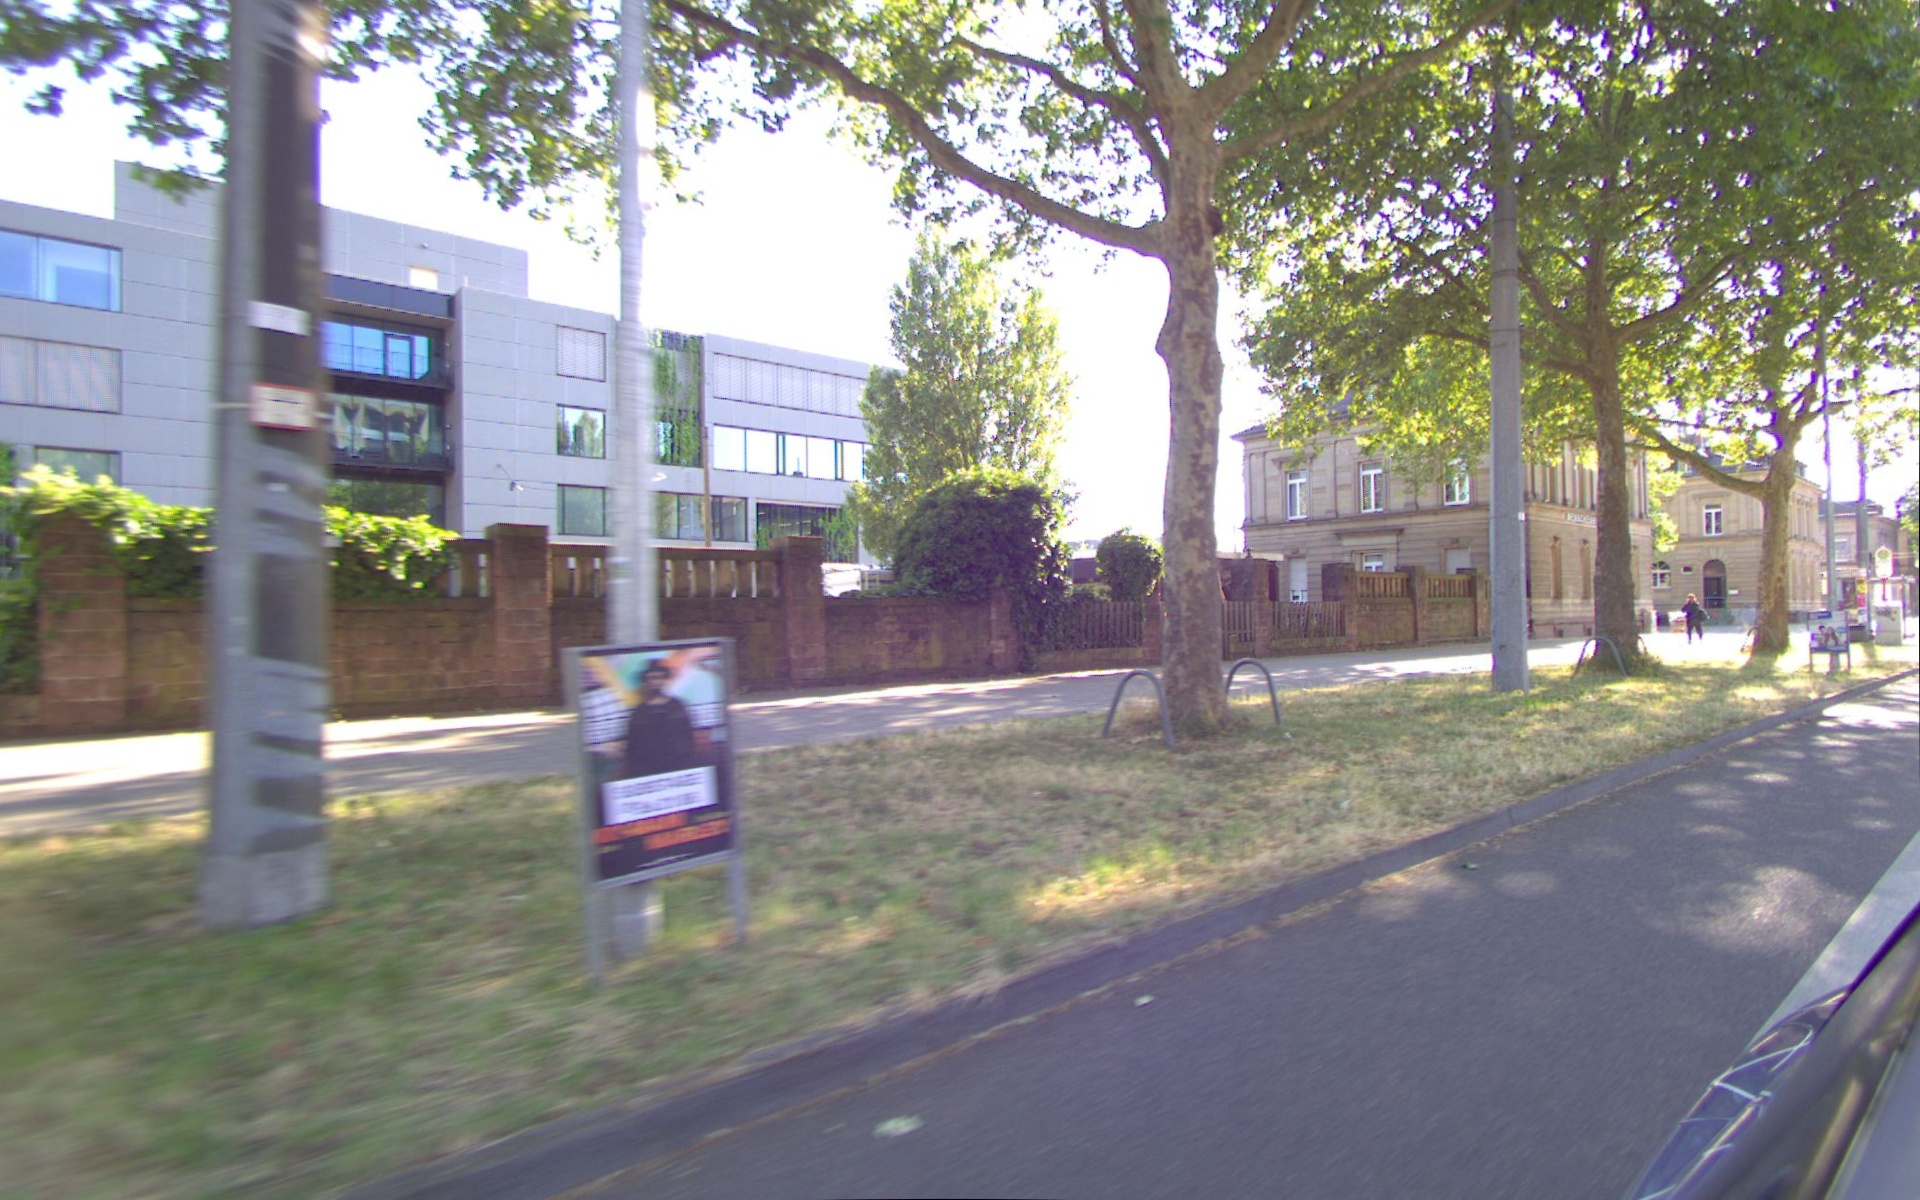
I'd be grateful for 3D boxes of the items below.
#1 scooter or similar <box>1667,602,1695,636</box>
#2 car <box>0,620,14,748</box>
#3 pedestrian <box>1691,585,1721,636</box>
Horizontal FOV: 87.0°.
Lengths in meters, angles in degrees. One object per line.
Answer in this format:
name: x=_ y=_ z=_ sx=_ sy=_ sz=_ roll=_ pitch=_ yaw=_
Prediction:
scooter or similar: x=25.546 y=0.668 z=35.862 sx=0.718 sy=1.170 sz=0.748 roll=0 pitch=0 yaw=43
car: x=-13.655 y=1.059 z=12.867 sx=4.099 sy=1.541 sz=2.012 roll=-2 pitch=-1 yaw=41
pedestrian: x=26.181 y=0.363 z=35.516 sx=0.769 sy=1.766 sz=0.784 roll=0 pitch=0 yaw=43
